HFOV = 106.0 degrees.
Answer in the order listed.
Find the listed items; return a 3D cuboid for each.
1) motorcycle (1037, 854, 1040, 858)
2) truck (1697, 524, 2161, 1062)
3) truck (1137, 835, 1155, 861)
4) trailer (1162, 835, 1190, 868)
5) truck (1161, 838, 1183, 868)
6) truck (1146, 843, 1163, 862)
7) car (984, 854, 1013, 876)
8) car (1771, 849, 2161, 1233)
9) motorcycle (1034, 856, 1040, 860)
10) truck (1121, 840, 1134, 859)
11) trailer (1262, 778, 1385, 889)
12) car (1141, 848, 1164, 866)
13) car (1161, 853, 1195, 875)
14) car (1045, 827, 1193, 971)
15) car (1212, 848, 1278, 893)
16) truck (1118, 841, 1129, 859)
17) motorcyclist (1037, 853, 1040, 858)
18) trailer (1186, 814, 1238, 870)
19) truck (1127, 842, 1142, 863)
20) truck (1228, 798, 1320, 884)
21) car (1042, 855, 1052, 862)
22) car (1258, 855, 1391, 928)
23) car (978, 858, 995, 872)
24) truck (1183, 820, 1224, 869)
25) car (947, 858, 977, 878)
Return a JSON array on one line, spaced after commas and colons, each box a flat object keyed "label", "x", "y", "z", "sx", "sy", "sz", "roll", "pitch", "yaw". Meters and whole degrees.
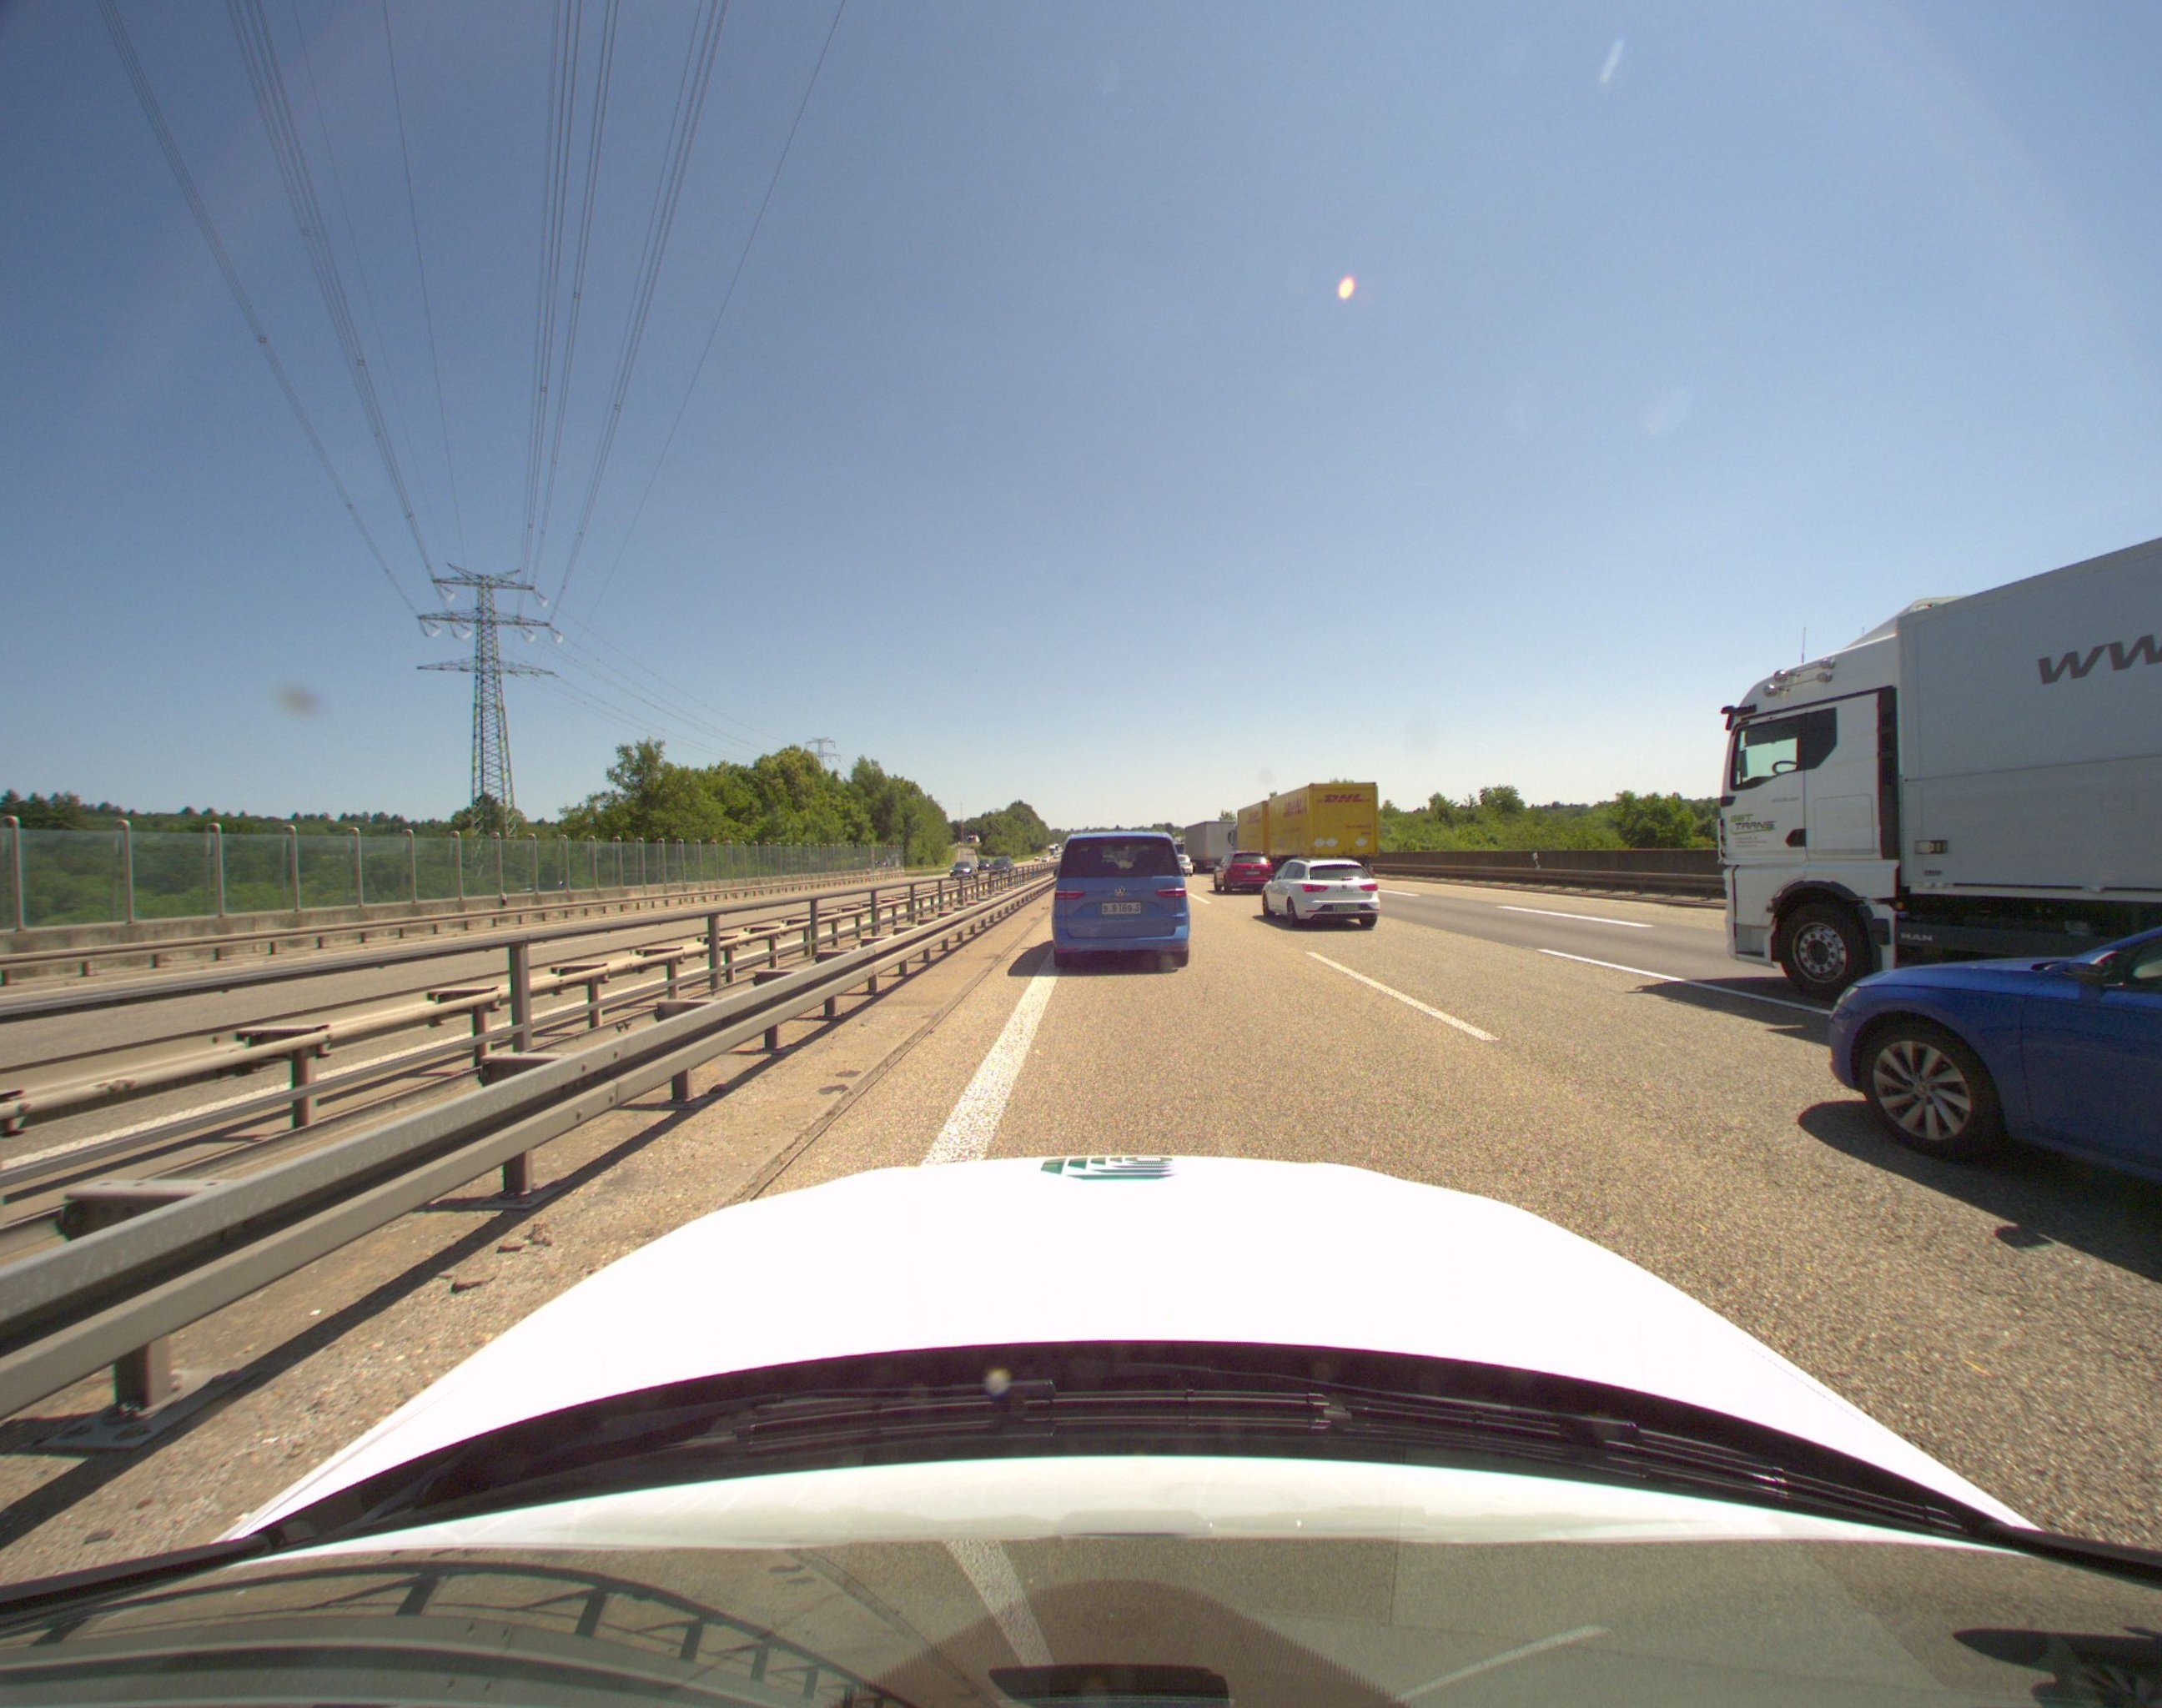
[{"label": "motorcycle", "x": -12.214, "y": 0.642, "z": 233.888, "sx": 0.699, "sy": 1.070, "sz": 2.306, "roll": -2, "pitch": 1, "yaw": 2}, {"label": "truck", "x": 8.633, "y": -0.423, "z": 4.268, "sx": 2.840, "sy": 3.603, "sz": 10.770, "roll": 0, "pitch": -1, "yaw": 1}, {"label": "truck", "x": 12.958, "y": -1.068, "z": 164.252, "sx": 2.824, "sy": 5.040, "sz": 11.145, "roll": 0, "pitch": -1, "yaw": 0}, {"label": "trailer", "x": 11.410, "y": -0.199, "z": 98.478, "sx": 2.371, "sy": 3.744, "sz": 11.190, "roll": 0, "pitch": -1, "yaw": 1}, {"label": "truck", "x": 11.603, "y": -0.111, "z": 104.102, "sx": 2.359, "sy": 3.722, "sz": 6.034, "roll": 0, "pitch": -1, "yaw": 1}, {"label": "truck", "x": 13.209, "y": -0.200, "z": 146.661, "sx": 2.347, "sy": 3.218, "sz": 9.740, "roll": 0, "pitch": -1, "yaw": 0}, {"label": "car", "x": -6.669, "y": 0.883, "z": 66.561, "sx": 1.748, "sy": 1.721, "sz": 4.102, "roll": -3, "pitch": 0, "yaw": 2}, {"label": "car", "x": 4.920, "y": 0.699, "z": 2.592, "sx": 1.703, "sy": 1.440, "sz": 4.501, "roll": -1, "pitch": 0, "yaw": 1}, {"label": "motorcycle", "x": -11.454, "y": 1.081, "z": 211.842, "sx": 1.361, "sy": 1.099, "sz": 2.577, "roll": -4, "pitch": 0, "yaw": 1}, {"label": "truck", "x": 12.825, "y": -1.165, "z": 227.653, "sx": 2.824, "sy": 4.886, "sz": 13.220, "roll": -3, "pitch": 0, "yaw": 0}, {"label": "trailer", "x": 9.799, "y": -0.675, "z": 34.054, "sx": 2.691, "sy": 4.023, "sz": 8.932, "roll": 0, "pitch": -1, "yaw": 1}, {"label": "car", "x": 6.793, "y": 0.265, "z": 77.336, "sx": 1.710, "sy": 1.587, "sz": 3.818, "roll": -2, "pitch": 0, "yaw": -2}, {"label": "car", "x": 6.705, "y": 0.660, "z": 56.584, "sx": 1.832, "sy": 1.414, "sz": 4.000, "roll": -1, "pitch": 0, "yaw": 0}, {"label": "car", "x": 0.562, "y": 0.591, "z": 12.522, "sx": 1.875, "sy": 1.837, "sz": 4.002, "roll": -1, "pitch": 0, "yaw": 2}, {"label": "car", "x": 6.295, "y": 0.617, "z": 31.691, "sx": 1.844, "sy": 1.608, "sz": 4.002, "roll": -1, "pitch": 0, "yaw": 2}, {"label": "truck", "x": 12.961, "y": -1.151, "z": 248.287, "sx": 2.824, "sy": 5.373, "sz": 12.554, "roll": 0, "pitch": -1, "yaw": 0}, {"label": "motorcyclist", "x": -12.257, "y": 0.452, "z": 233.869, "sx": 0.894, "sy": 1.441, "sz": 1.083, "roll": -2, "pitch": 1, "yaw": 1}, {"label": "trailer", "x": 10.509, "y": -0.813, "z": 66.414, "sx": 2.744, "sy": 4.146, "sz": 11.315, "roll": 0, "pitch": -1, "yaw": 2}, {"label": "truck", "x": 12.925, "y": -0.241, "z": 198.211, "sx": 2.824, "sy": 5.040, "sz": 11.816, "roll": 0, "pitch": -1, "yaw": 0}, {"label": "truck", "x": 10.045, "y": -0.568, "z": 43.710, "sx": 2.712, "sy": 4.055, "sz": 10.338, "roll": 0, "pitch": -1, "yaw": 1}, {"label": "car", "x": -7.667, "y": 1.072, "z": 183.464, "sx": 1.903, "sy": 1.394, "sz": 4.166, "roll": -3, "pitch": -1, "yaw": 2}, {"label": "car", "x": 5.191, "y": 0.740, "z": 17.931, "sx": 1.774, "sy": 1.387, "sz": 4.190, "roll": -1, "pitch": 0, "yaw": 2}, {"label": "car", "x": -13.052, "y": 1.561, "z": 112.841, "sx": 1.776, "sy": 1.785, "sz": 4.303, "roll": -3, "pitch": 0, "yaw": 1}, {"label": "truck", "x": 10.663, "y": -0.744, "z": 71.418, "sx": 2.758, "sy": 4.095, "sz": 6.986, "roll": 0, "pitch": -1, "yaw": 1}, {"label": "car", "x": -10.106, "y": 1.199, "z": 69.506, "sx": 1.748, "sy": 1.547, "sz": 4.001, "roll": -4, "pitch": -1, "yaw": 2}]
